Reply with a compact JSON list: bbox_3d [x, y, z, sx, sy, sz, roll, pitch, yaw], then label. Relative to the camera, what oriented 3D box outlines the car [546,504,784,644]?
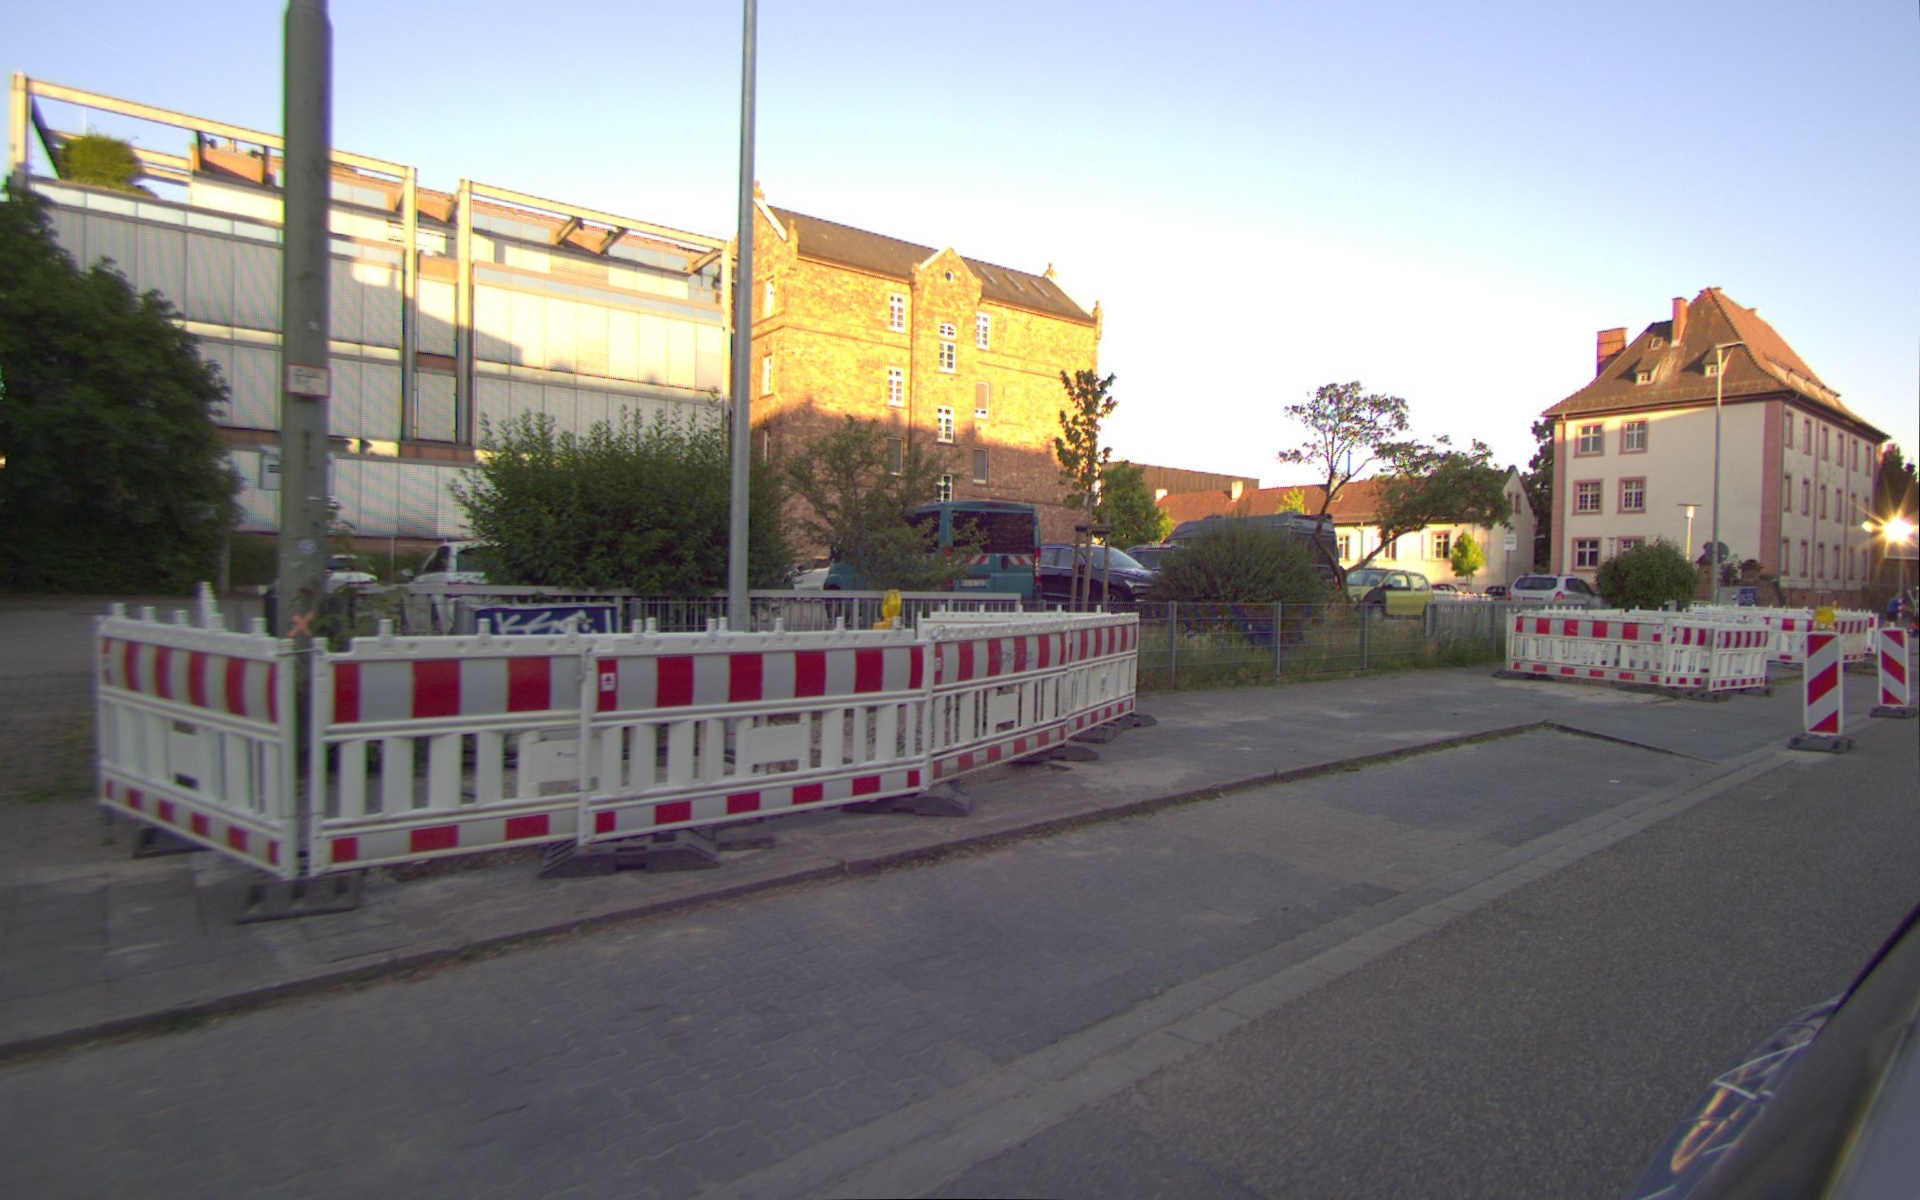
[{"bbox_3d":[-4.685,-0.441,15.601,1.969,1.832,4.491,0,2,-39],"label":"car"}]

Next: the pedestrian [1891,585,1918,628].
[{"bbox_3d":[36.306,0.230,38.888,0.714,1.630,0.510,2,1,44],"label":"pedestrian"}]

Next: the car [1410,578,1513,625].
[{"bbox_3d":[18.487,0.030,37.272,3.930,1.620,2.014,0,1,-41],"label":"car"}]

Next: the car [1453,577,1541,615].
[{"bbox_3d":[25.350,-0.189,47.770,3.922,1.723,2.001,0,1,-33],"label":"car"}]

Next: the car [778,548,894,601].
[{"bbox_3d":[-3.934,-0.833,31.690,1.962,1.536,3.932,0,2,-35],"label":"car"}]

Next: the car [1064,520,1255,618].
[{"bbox_3d":[4.468,-0.720,23.156,1.963,2.038,4.000,0,2,-36],"label":"car"}]

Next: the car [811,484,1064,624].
[{"bbox_3d":[-0.591,-0.776,18.331,2.245,2.156,5.040,0,1,-33],"label":"car"}]

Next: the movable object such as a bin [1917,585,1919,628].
[{"bbox_3d":[36.909,0.267,38.316,0.975,1.630,0.624,2,1,44],"label":"movable object such as a bin"}]

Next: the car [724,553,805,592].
[{"bbox_3d":[-8.432,-1.202,43.393,1.793,1.536,4.147,0,2,-37],"label":"car"}]

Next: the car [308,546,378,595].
[{"bbox_3d":[-20.677,-1.001,33.862,1.820,1.536,3.733,0,2,-34],"label":"car"}]

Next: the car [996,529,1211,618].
[{"bbox_3d":[2.909,-0.556,21.400,1.963,1.669,4.437,0,1,-36],"label":"car"}]

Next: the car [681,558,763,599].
[{"bbox_3d":[-9.840,-0.910,41.665,1.793,1.536,4.147,0,2,-37],"label":"car"}]

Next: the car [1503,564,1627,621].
[{"bbox_3d":[19.019,-0.245,31.717,4.723,1.650,1.918,0,1,-41],"label":"car"}]

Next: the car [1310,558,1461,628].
[{"bbox_3d":[10.971,-0.194,26.001,4.058,1.669,1.702,0,1,-36],"label":"car"}]

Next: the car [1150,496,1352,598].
[{"bbox_3d":[6.959,-1.233,24.634,1.963,2.224,4.437,0,1,-36],"label":"car"}]

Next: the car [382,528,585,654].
[{"bbox_3d":[-6.601,-0.193,13.821,1.664,1.470,3.840,0,2,-39],"label":"car"}]
